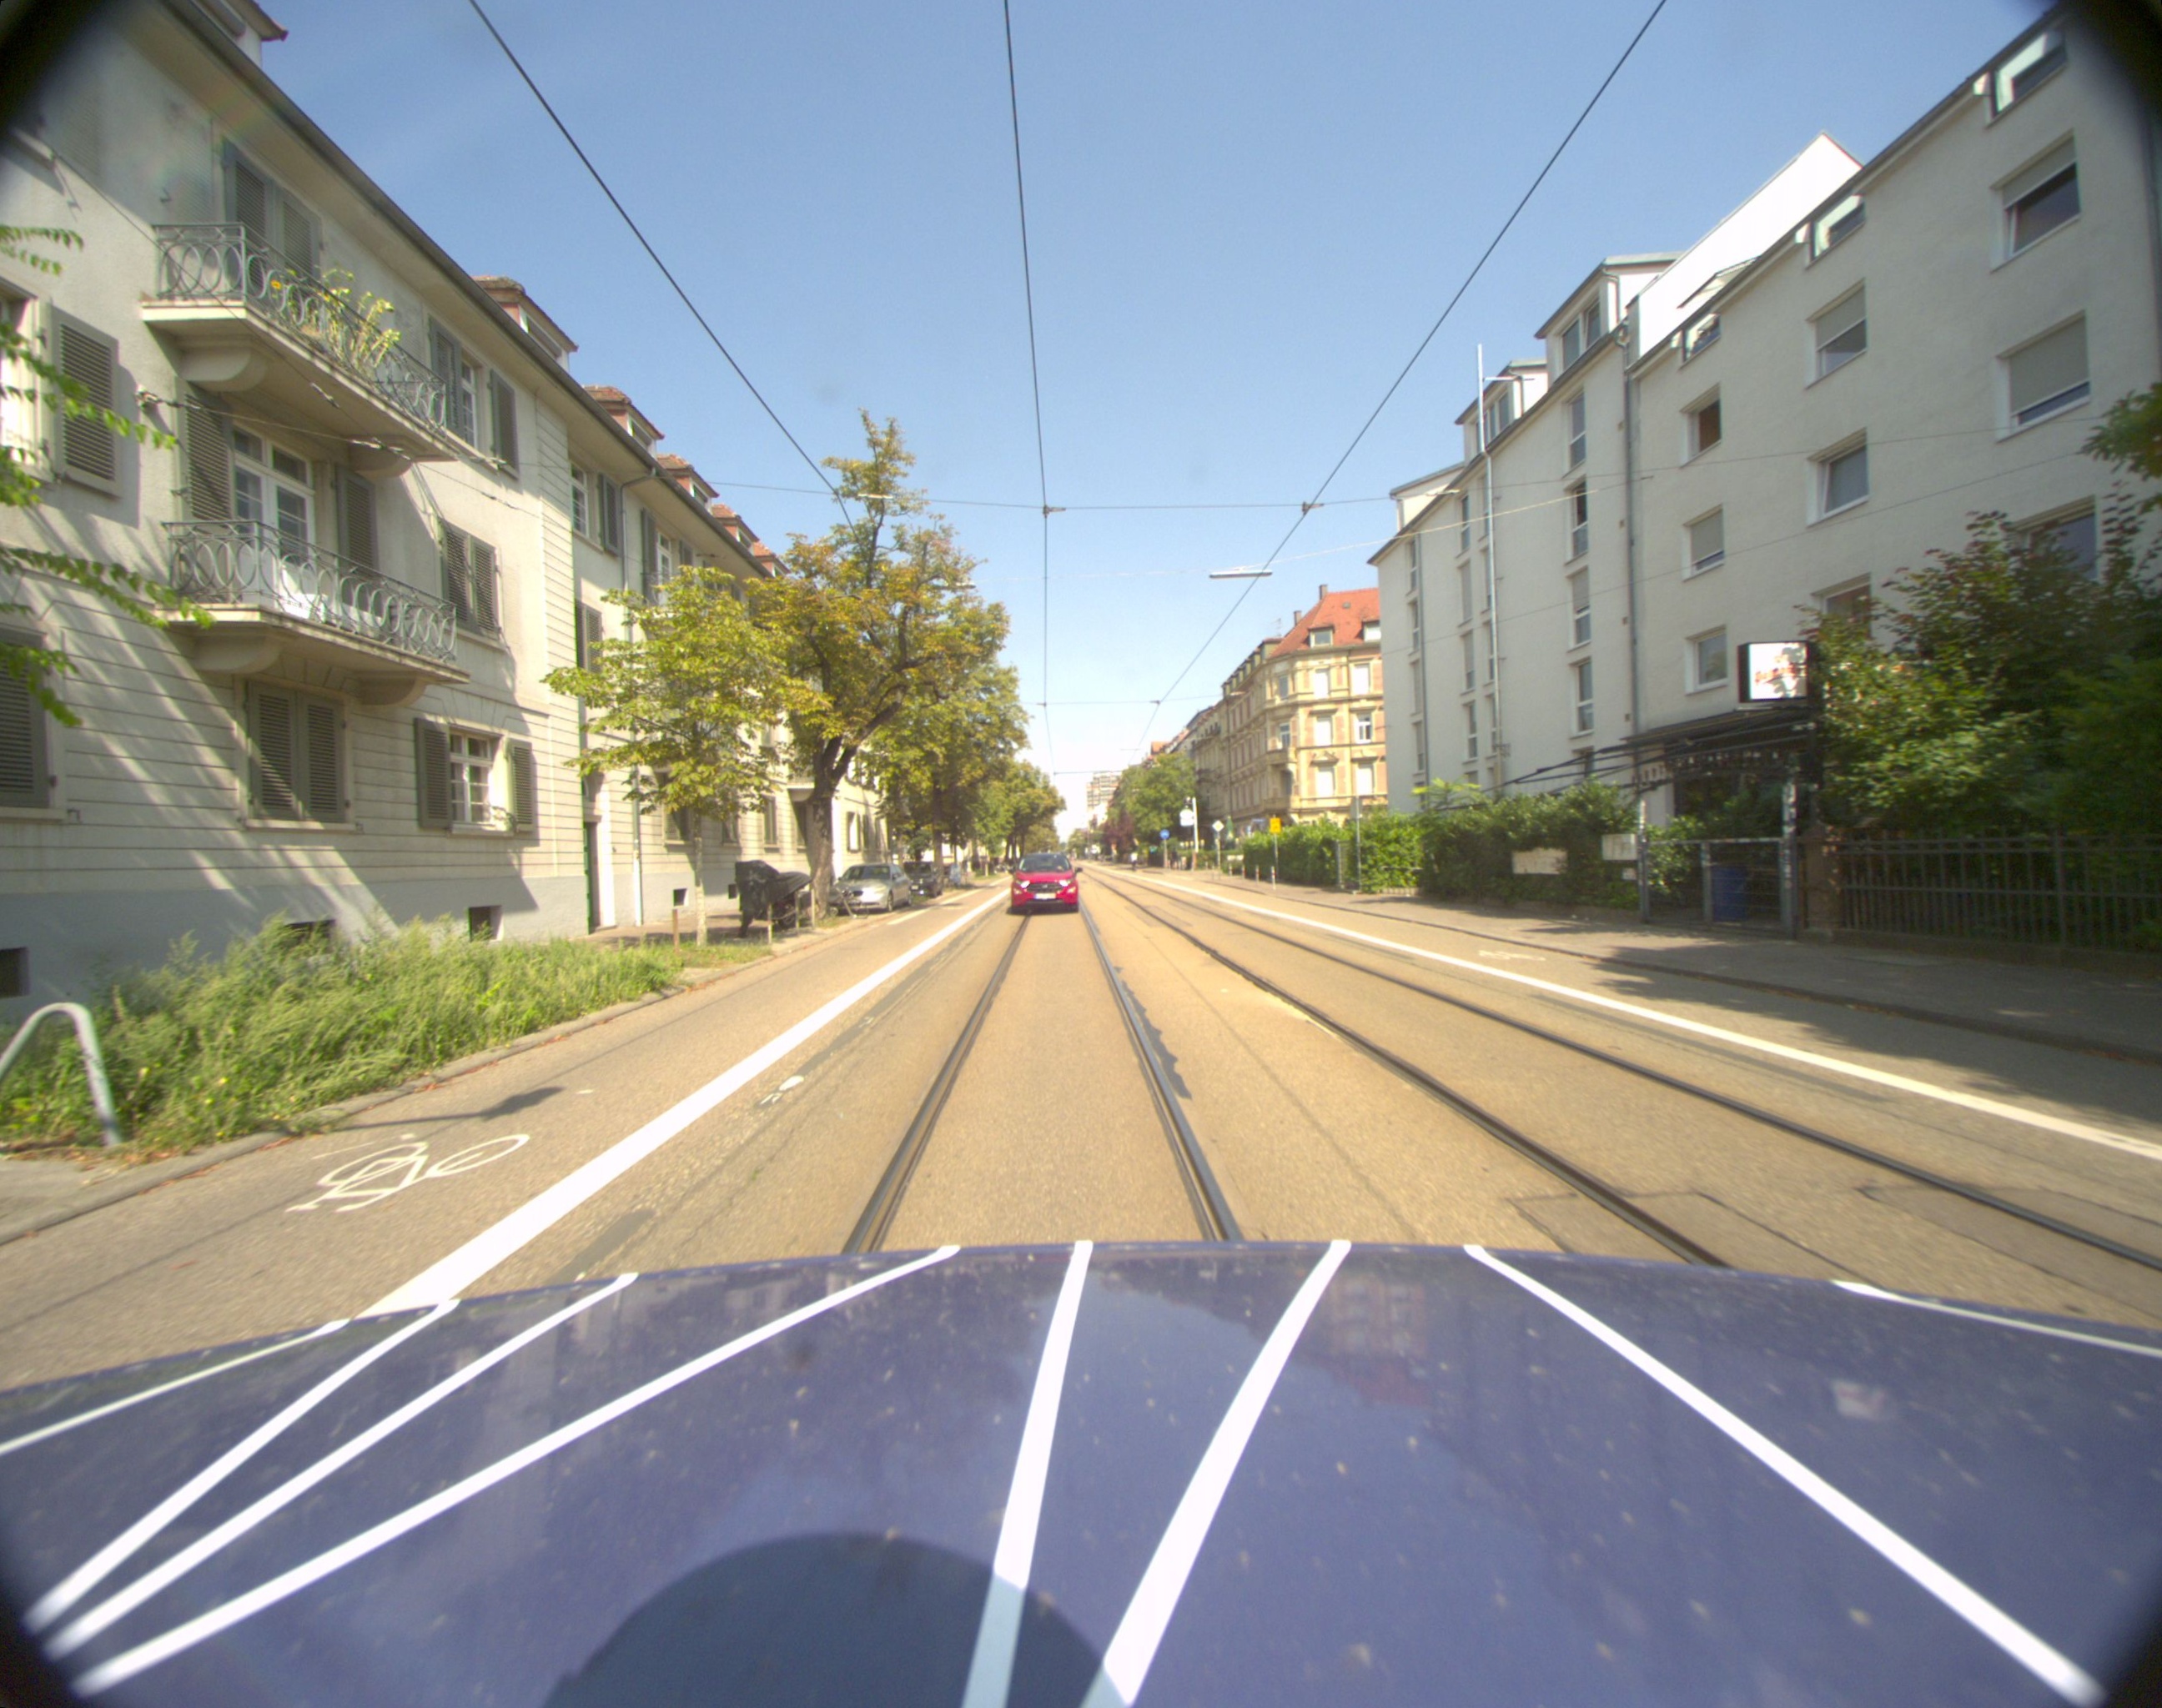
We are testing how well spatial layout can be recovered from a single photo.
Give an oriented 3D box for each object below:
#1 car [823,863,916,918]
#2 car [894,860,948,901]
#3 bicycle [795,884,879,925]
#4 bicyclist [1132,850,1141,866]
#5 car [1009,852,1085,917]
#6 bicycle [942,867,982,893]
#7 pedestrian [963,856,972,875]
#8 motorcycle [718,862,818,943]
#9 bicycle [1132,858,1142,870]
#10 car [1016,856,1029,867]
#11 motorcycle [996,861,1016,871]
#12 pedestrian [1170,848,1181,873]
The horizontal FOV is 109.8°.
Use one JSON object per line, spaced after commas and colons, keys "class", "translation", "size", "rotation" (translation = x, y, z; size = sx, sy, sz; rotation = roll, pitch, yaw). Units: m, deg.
{"class": "car", "translation": [-6.361, 1.049, 23.428], "size": [1.787, 1.442, 4.749], "rotation": [-1, 0, -4]}
{"class": "car", "translation": [-6.492, 1.017, 31.169], "size": [1.668, 1.498, 4.432], "rotation": [-1, 0, -6]}
{"class": "bicycle", "translation": [-6.338, 1.306, 19.800], "size": [1.927, 0.947, 0.721], "rotation": [-2, 1, 2]}
{"class": "bicyclist", "translation": [4.994, 0.362, 68.372], "size": [0.657, 1.420, 0.974], "rotation": [-2, 0, -3]}
{"class": "car", "translation": [-0.843, 0.765, 20.907], "size": [1.816, 1.542, 4.021], "rotation": [-3, 0, 0]}
{"class": "bicycle", "translation": [-5.555, 1.198, 35.545], "size": [1.760, 1.116, 0.656], "rotation": [-2, 0, -2]}
{"class": "pedestrian", "translation": [-10.899, 1.101, 72.884], "size": [0.749, 1.775, 0.632], "rotation": [-2, 0, -1]}
{"class": "motorcycle", "translation": [-6.592, 0.980, 16.188], "size": [0.887, 1.544, 2.413], "rotation": [-1, 1, 6]}
{"class": "bicycle", "translation": [5.004, 0.863, 68.355], "size": [0.642, 1.070, 1.915], "rotation": [-2, 0, -3]}
{"class": "car", "translation": [-8.094, 1.011, 105.236], "size": [1.599, 1.488, 4.052], "rotation": [-2, 0, -1]}
{"class": "motorcycle", "translation": [-7.985, 1.281, 80.982], "size": [2.000, 1.009, 0.796], "rotation": [-2, 1, -2]}
{"class": "pedestrian", "translation": [7.531, 0.498, 60.831], "size": [0.657, 2.002, 0.974], "rotation": [-2, 0, -3]}
